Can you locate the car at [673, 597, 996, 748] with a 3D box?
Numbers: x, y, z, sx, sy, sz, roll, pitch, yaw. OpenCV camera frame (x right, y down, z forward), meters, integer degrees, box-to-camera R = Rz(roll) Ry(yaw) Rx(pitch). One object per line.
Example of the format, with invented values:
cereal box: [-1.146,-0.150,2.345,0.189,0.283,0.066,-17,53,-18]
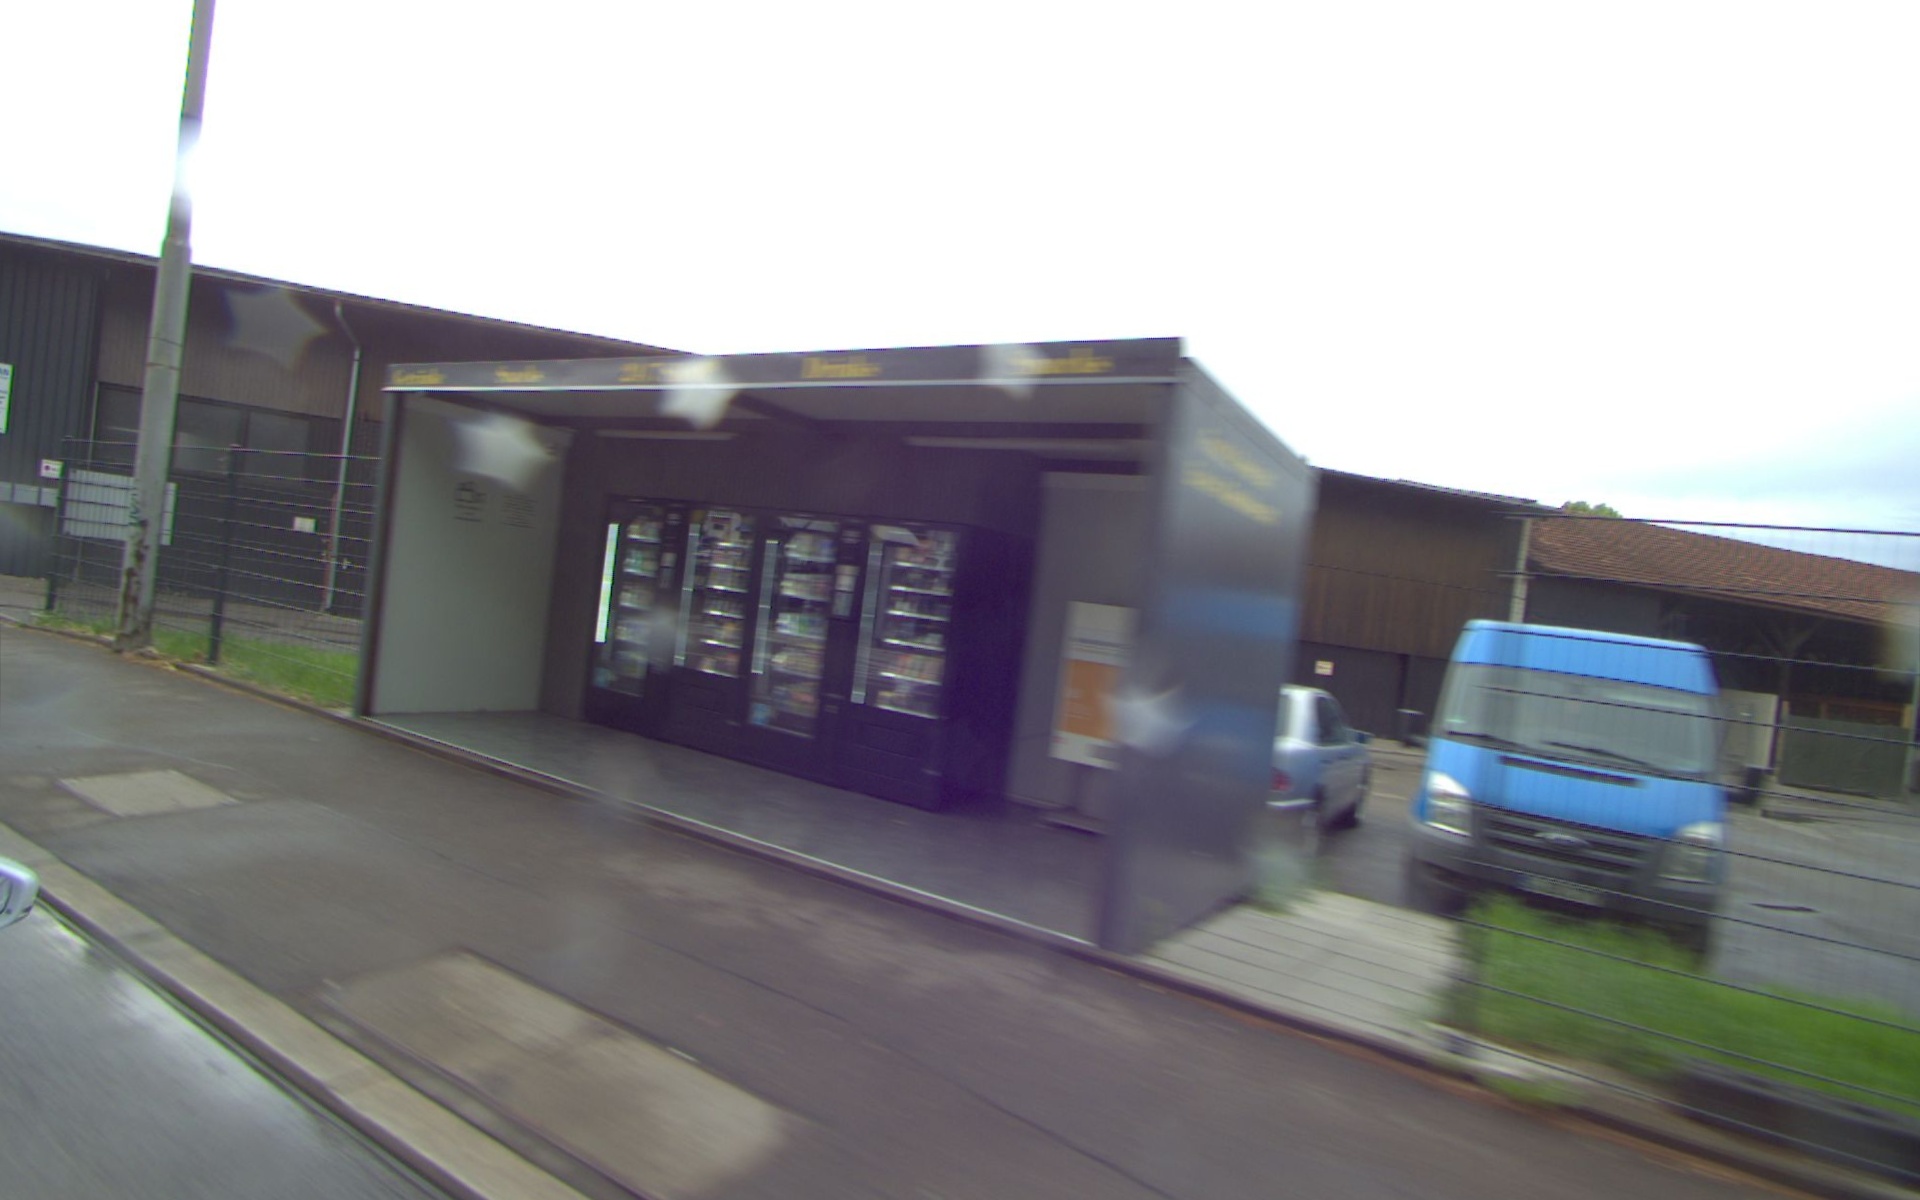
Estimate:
car: [-1.363,0.961,12.540,1.756,1.439,3.995,5,-3,32]

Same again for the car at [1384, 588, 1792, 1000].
car: [5.249,1.381,8.796,1.966,2.236,5.579,7,-2,30]

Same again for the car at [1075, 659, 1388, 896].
car: [2.847,1.502,9.715,1.764,1.549,4.387,6,-2,30]
